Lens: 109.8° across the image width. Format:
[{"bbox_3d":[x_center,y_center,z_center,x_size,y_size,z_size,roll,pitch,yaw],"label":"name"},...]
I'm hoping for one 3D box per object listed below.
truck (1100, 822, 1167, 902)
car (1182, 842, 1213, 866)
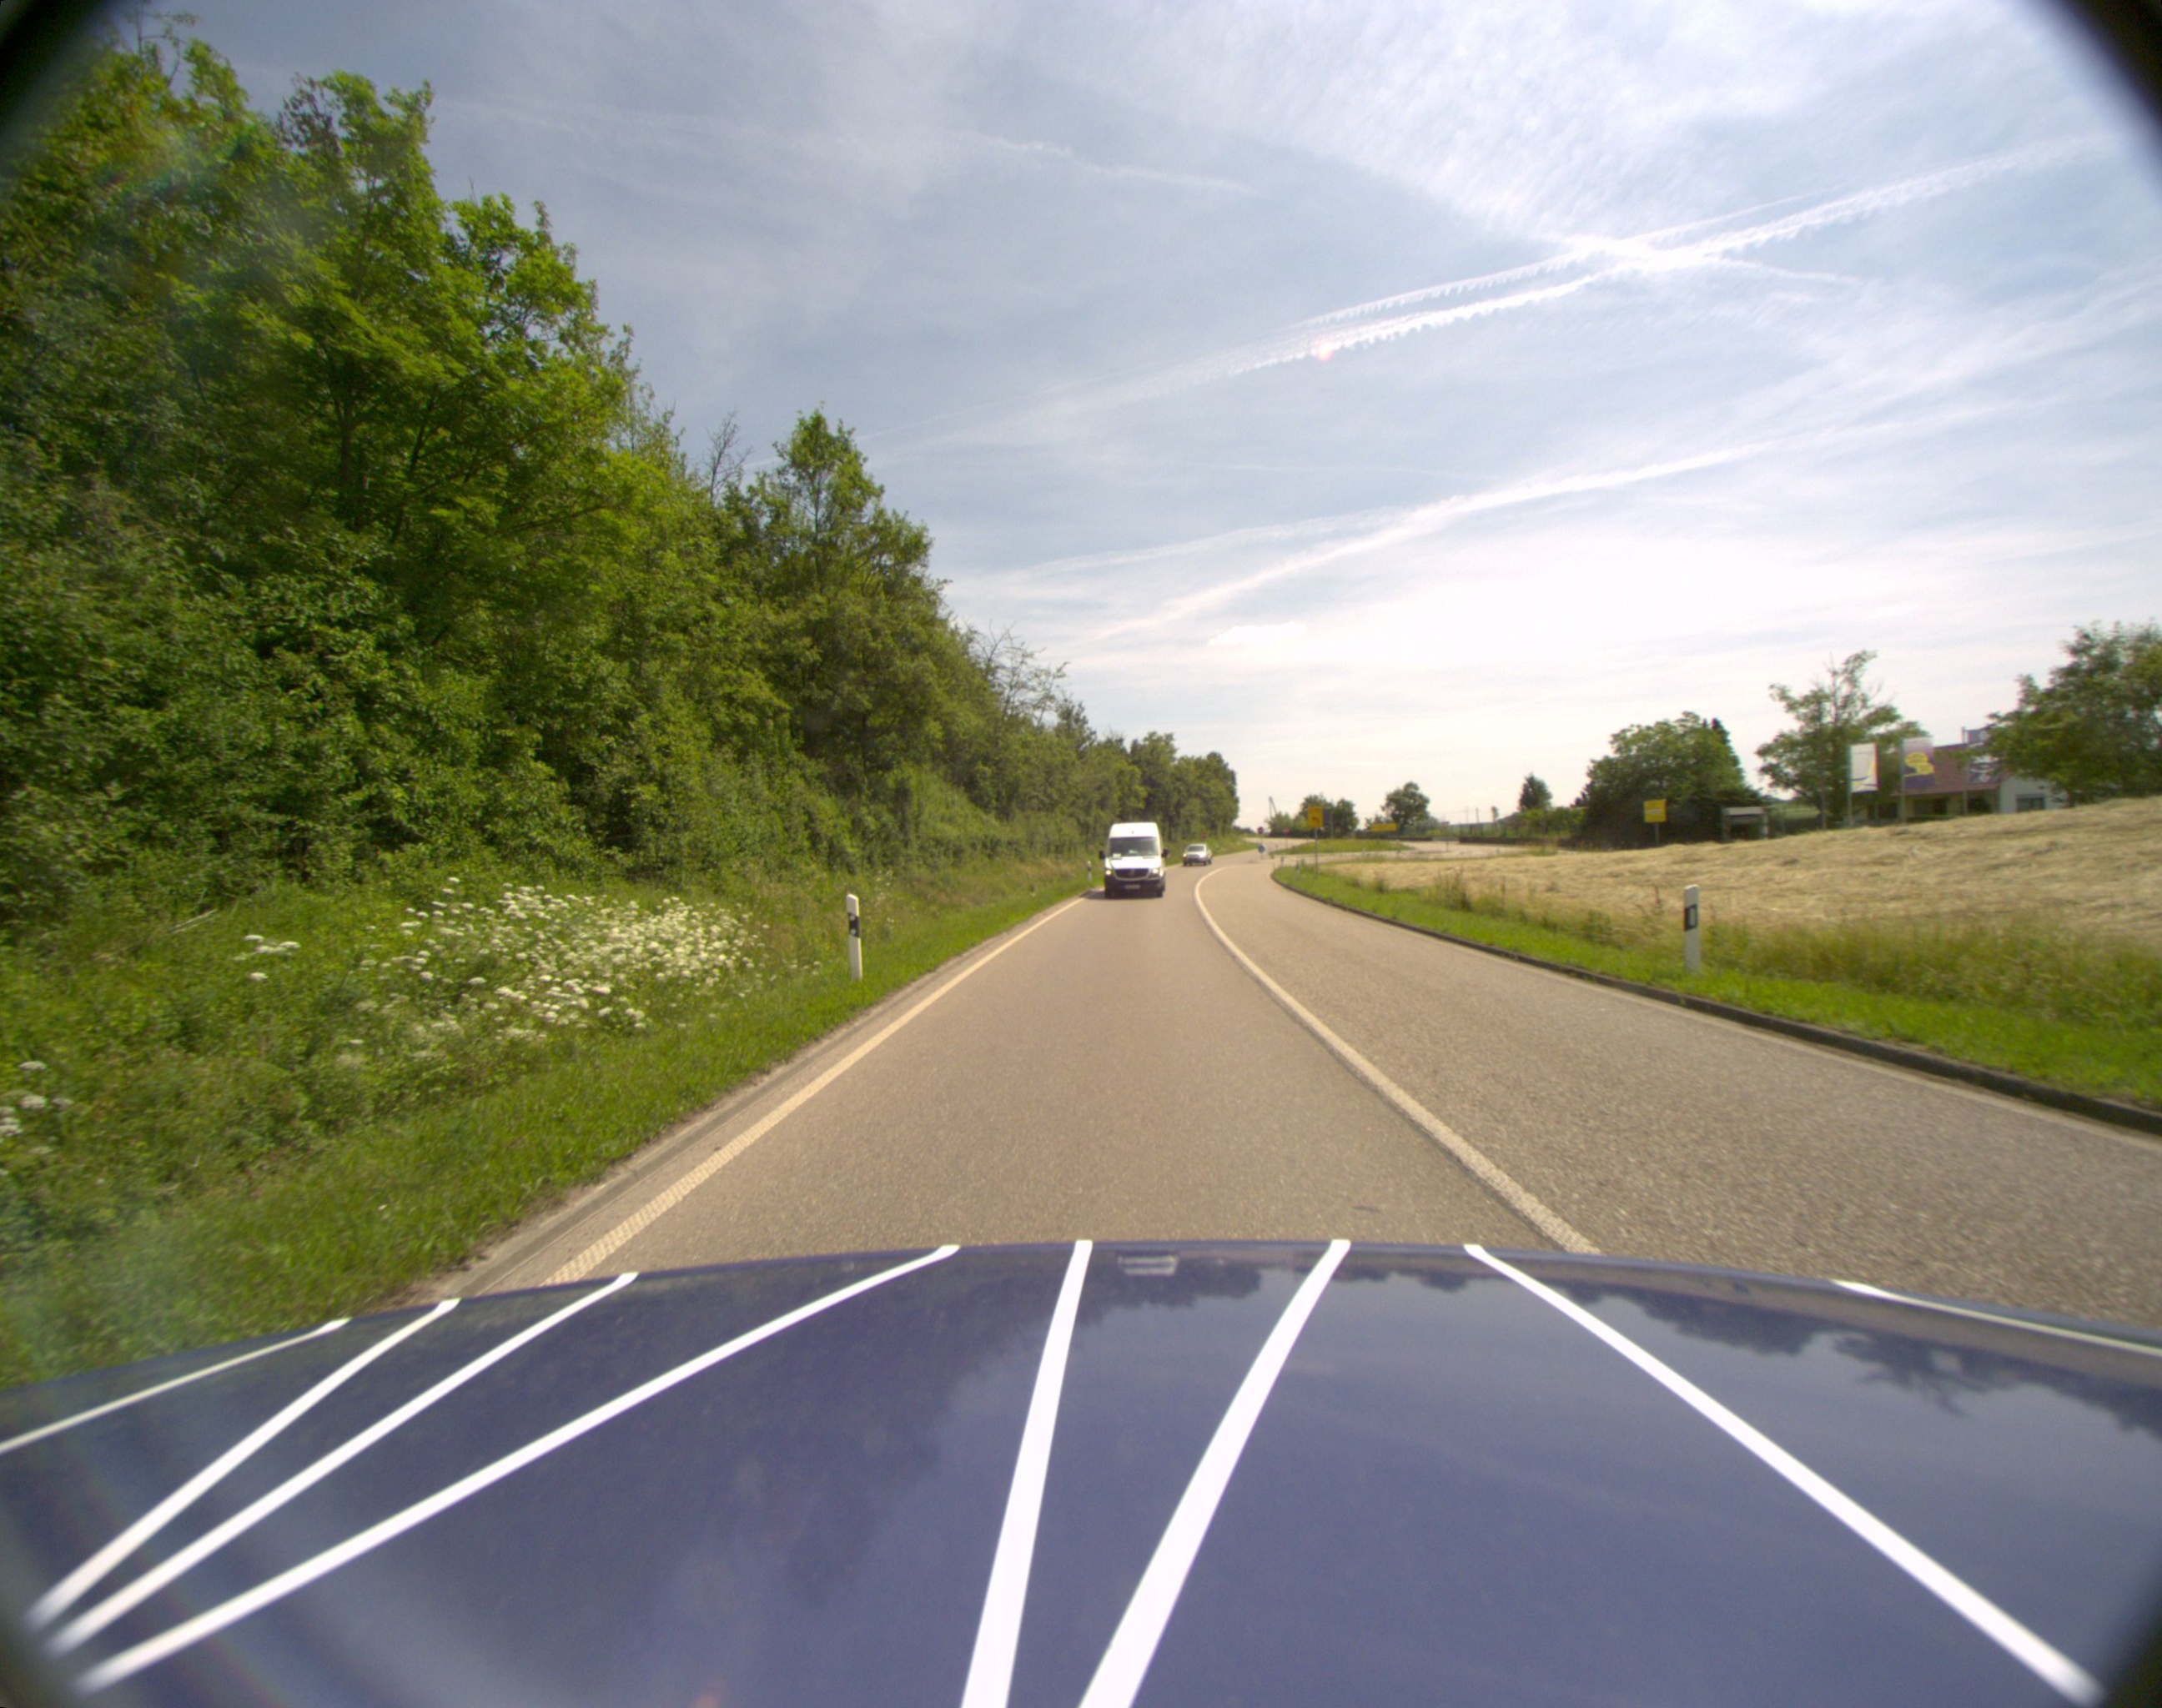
[{"bbox_3d":[2.017,0.233,27.610,1.997,2.571,5.890,-1,1,8],"label":"truck"},{"bbox_3d":[9.200,-0.025,59.650,1.847,1.698,4.093,-2,1,16],"label":"car"}]
